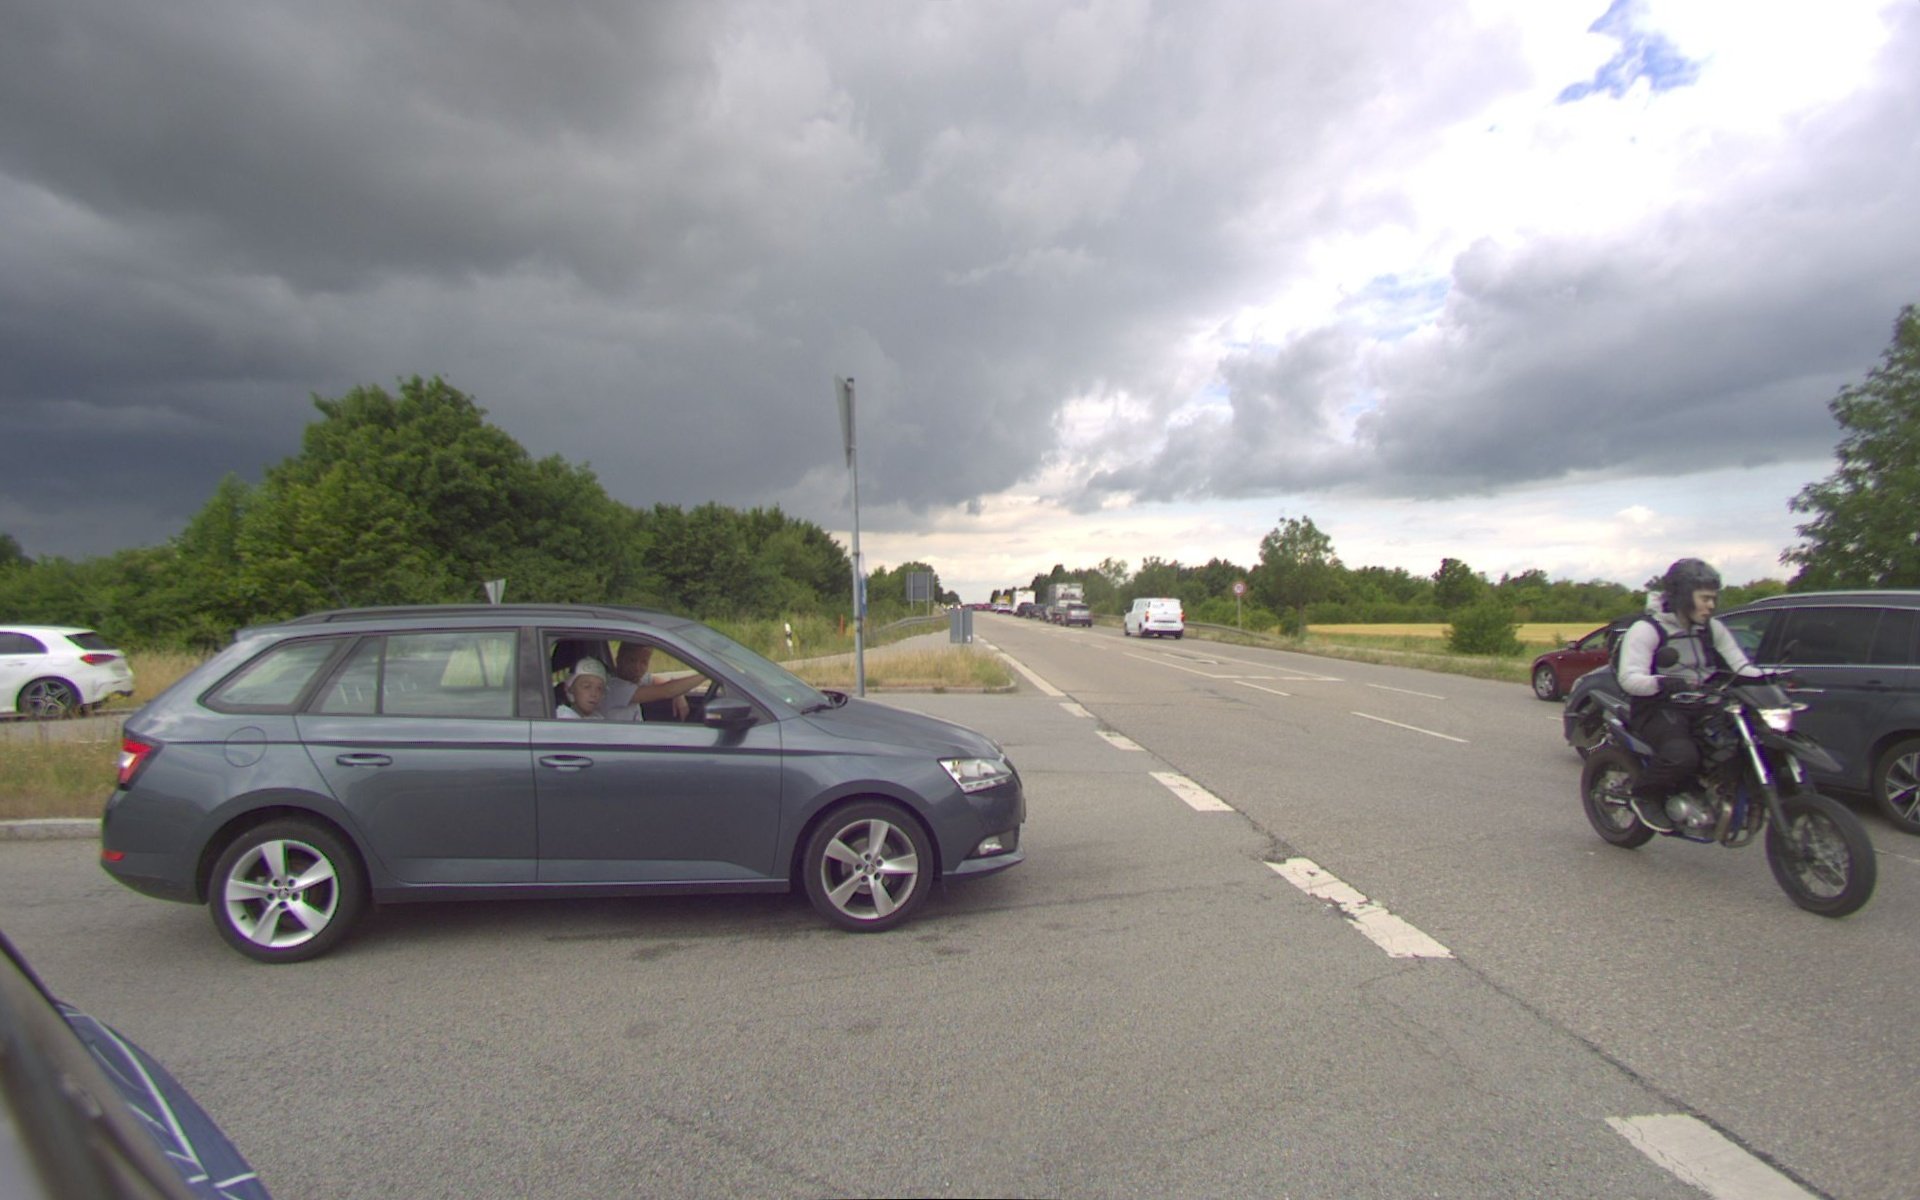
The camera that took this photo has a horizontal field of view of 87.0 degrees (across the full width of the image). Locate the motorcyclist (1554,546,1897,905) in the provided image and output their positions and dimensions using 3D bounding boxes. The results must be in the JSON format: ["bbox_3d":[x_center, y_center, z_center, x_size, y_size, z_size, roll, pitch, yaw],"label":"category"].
[{"bbox_3d":[4.130,0.622,5.595,0.930,1.763,1.201,0,-1,-2],"label":"motorcyclist"}]

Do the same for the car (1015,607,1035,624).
[{"bbox_3d":[7.073,1.699,110.476,1.831,1.763,4.002,0,-1,-2],"label":"car"}]

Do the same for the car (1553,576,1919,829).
[{"bbox_3d":[7.026,0.708,8.009,1.726,1.671,4.297,1,-1,-8],"label":"car"}]

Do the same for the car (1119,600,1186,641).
[{"bbox_3d":[9.404,0.992,49.972,2.082,1.900,5.393,0,-1,-2],"label":"car"}]

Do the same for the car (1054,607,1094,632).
[{"bbox_3d":[7.879,1.363,70.235,1.970,1.636,4.264,2,-1,-3],"label":"car"}]

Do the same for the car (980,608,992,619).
[{"bbox_3d":[4.544,2.329,174.856,1.831,1.763,4.001,0,-1,-1],"label":"car"}]

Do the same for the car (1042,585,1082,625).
[{"bbox_3d":[8.102,0.452,80.993,2.307,3.052,6.560,2,-1,-2],"label":"car"}]

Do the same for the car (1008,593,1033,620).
[{"bbox_3d":[7.146,0.823,120.926,2.307,3.052,6.561,-1,-1,-2],"label":"car"}]

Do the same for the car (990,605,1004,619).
[{"bbox_3d":[5.611,1.860,153.962,1.771,2.029,4.002,-1,-1,-3],"label":"car"}]

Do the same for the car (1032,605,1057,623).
[{"bbox_3d":[7.704,1.281,92.389,1.822,1.537,4.001,-1,-1,-1],"label":"car"}]

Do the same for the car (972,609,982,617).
[{"bbox_3d":[3.514,2.655,205.127,1.831,1.763,4.001,0,-1,-1],"label":"car"}]

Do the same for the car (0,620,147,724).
[{"bbox_3d":[-14.822,1.043,14.807,4.317,1.462,1.777,0,-1,-30],"label":"car"}]

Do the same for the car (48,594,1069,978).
[{"bbox_3d":[-1.656,0.721,5.059,4.052,1.458,1.722,-1,0,-8],"label":"car"}]

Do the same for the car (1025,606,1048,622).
[{"bbox_3d":[7.645,1.439,101.722,1.822,1.537,4.001,-1,-1,-2],"label":"car"}]

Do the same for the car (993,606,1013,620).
[{"bbox_3d":[5.929,1.842,141.140,2.307,1.936,4.877,-1,-1,-2],"label":"car"}]

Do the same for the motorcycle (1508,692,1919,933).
[{"bbox_3d":[4.129,1.052,5.627,0.930,0.896,2.146,0,-1,-2],"label":"motorcycle"}]

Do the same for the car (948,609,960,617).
[{"bbox_3d":[-1.062,2.291,181.428,1.971,1.493,4.001,0,-1,-2],"label":"car"}]

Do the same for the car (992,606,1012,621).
[{"bbox_3d":[5.528,1.764,133.727,2.307,1.936,4.877,-1,-1,-2],"label":"car"}]

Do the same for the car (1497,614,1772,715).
[{"bbox_3d":[10.680,0.957,16.447,1.654,1.412,4.090,1,-1,-1],"label":"car"}]
